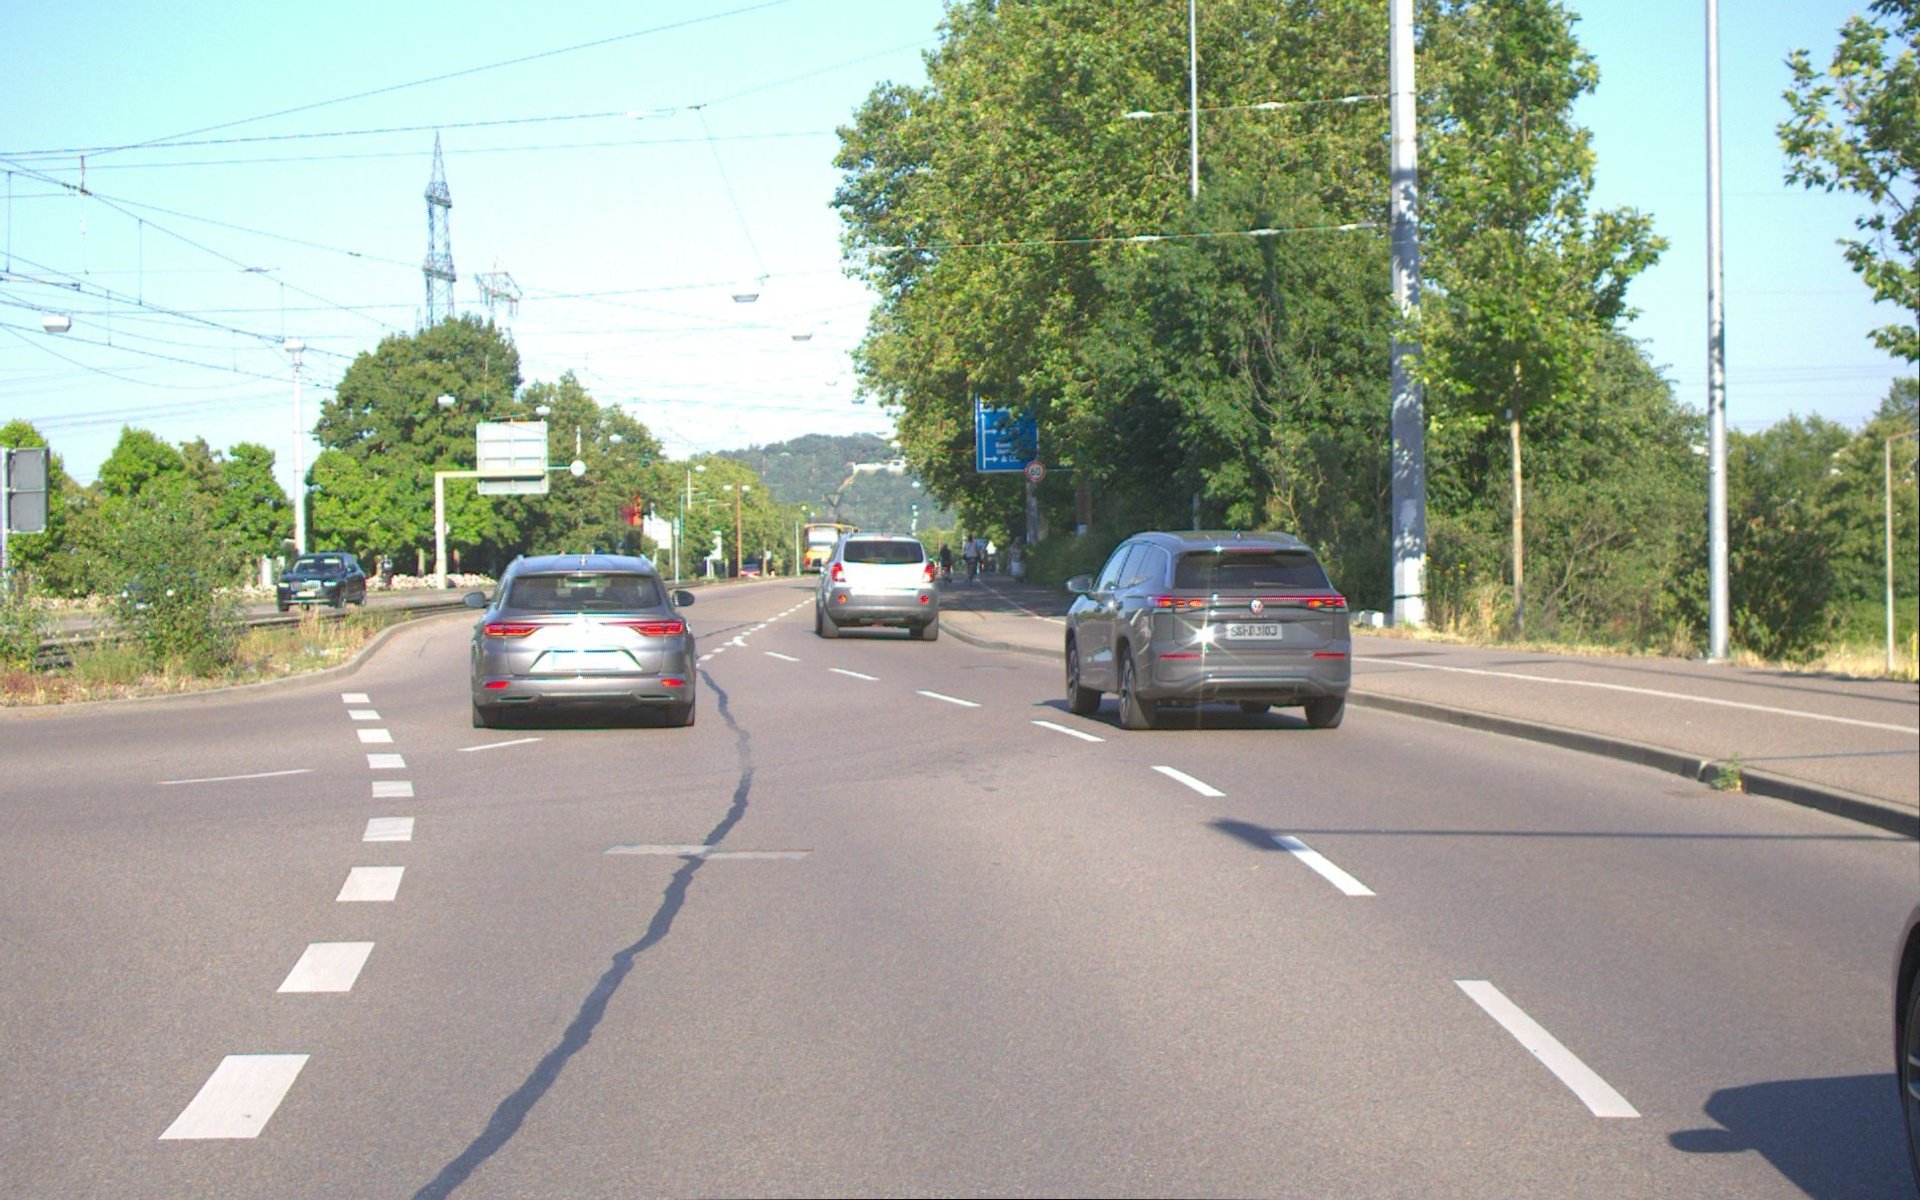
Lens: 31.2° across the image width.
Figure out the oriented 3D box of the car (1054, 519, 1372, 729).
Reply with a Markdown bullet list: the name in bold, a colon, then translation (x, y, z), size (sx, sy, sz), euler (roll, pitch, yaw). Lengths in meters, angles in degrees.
- **car**: translation (2.076, 0.142, 29.500), size (1.844, 1.655, 4.441), euler (0, 1, -7)

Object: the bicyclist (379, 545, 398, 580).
- **bicyclist**: translation (-27.097, -1.771, 163.025), size (0.661, 1.618, 0.801), euler (2, 1, 10)

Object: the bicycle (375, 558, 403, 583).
- **bicycle**: translation (-27.088, -1.391, 163.140), size (0.661, 1.147, 2.021), euler (2, 1, 10)

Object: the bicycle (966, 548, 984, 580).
- **bicycle**: translation (0.527, -1.277, 121.064), size (0.622, 1.116, 1.813), euler (-2, 1, 0)

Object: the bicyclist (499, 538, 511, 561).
- **bicyclist**: translation (-27.799, -3.080, 210.056), size (0.625, 1.369, 0.880), euler (1, 1, 0)

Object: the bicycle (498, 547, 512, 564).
- **bicycle**: translation (-27.806, -2.714, 210.124), size (0.625, 1.055, 1.703), euler (1, 1, 0)

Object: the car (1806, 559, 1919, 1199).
- **car**: translation (2.955, 0.684, 5.955), size (1.866, 1.462, 4.586), euler (1, 1, 1)

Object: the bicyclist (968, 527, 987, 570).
- **bicyclist**: translation (0.618, -1.813, 121.103), size (0.685, 1.503, 0.891), euler (0, 1, 0)

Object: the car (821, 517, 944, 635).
- **car**: translation (-1.235, -0.418, 55.836), size (1.883, 1.789, 4.000), euler (1, 1, 0)

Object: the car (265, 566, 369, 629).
- **car**: translation (-18.471, -0.084, 98.956), size (1.993, 1.650, 4.659), euler (-2, 1, 1)

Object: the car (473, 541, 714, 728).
- **car**: translation (-3.095, 0.235, 29.823), size (1.865, 1.462, 4.667), euler (1, 1, -4)
